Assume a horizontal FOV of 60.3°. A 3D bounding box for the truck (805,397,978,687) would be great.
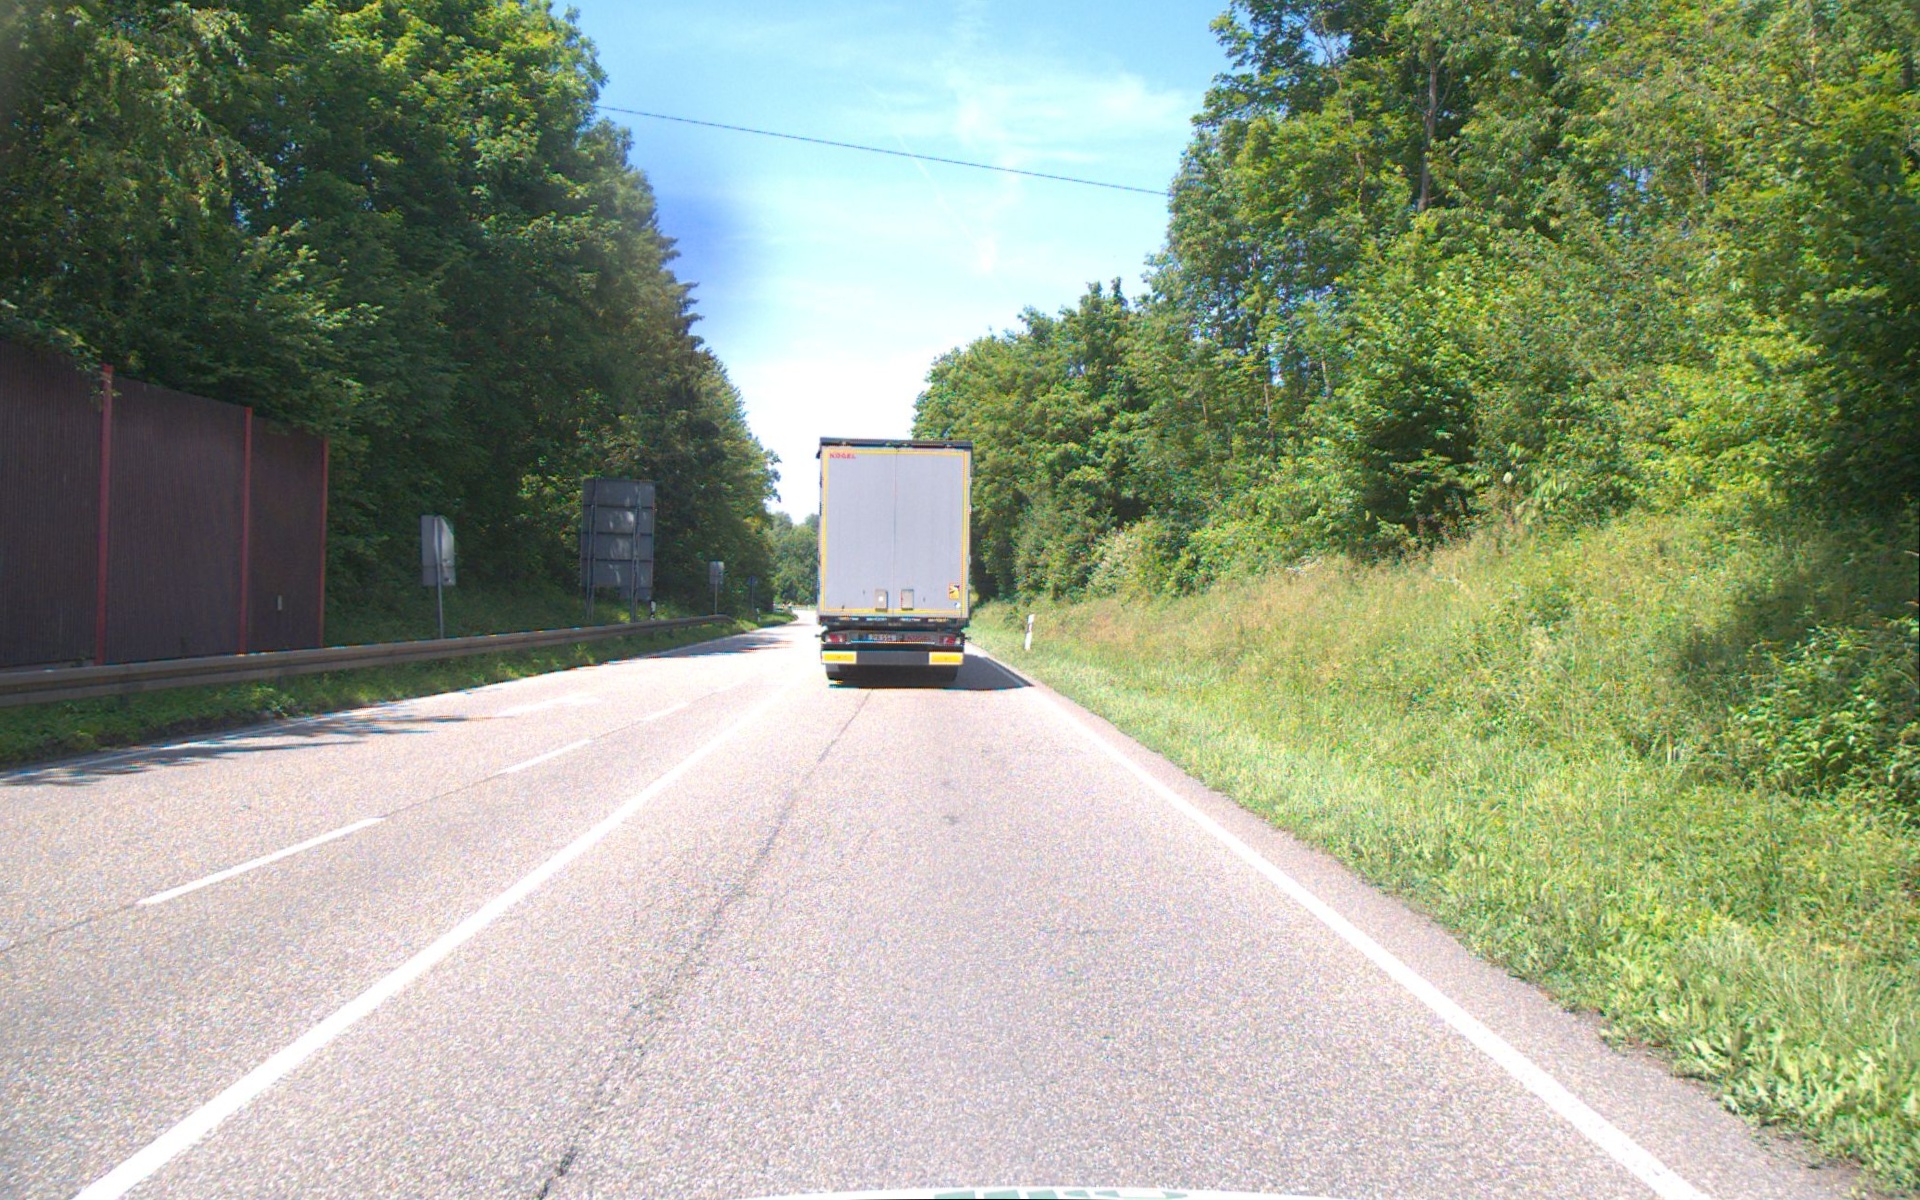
[{"bbox_3d":[-1.224,-1.006,30.208,2.766,4.684,6.663,1,1,-2],"label":"truck"}]
